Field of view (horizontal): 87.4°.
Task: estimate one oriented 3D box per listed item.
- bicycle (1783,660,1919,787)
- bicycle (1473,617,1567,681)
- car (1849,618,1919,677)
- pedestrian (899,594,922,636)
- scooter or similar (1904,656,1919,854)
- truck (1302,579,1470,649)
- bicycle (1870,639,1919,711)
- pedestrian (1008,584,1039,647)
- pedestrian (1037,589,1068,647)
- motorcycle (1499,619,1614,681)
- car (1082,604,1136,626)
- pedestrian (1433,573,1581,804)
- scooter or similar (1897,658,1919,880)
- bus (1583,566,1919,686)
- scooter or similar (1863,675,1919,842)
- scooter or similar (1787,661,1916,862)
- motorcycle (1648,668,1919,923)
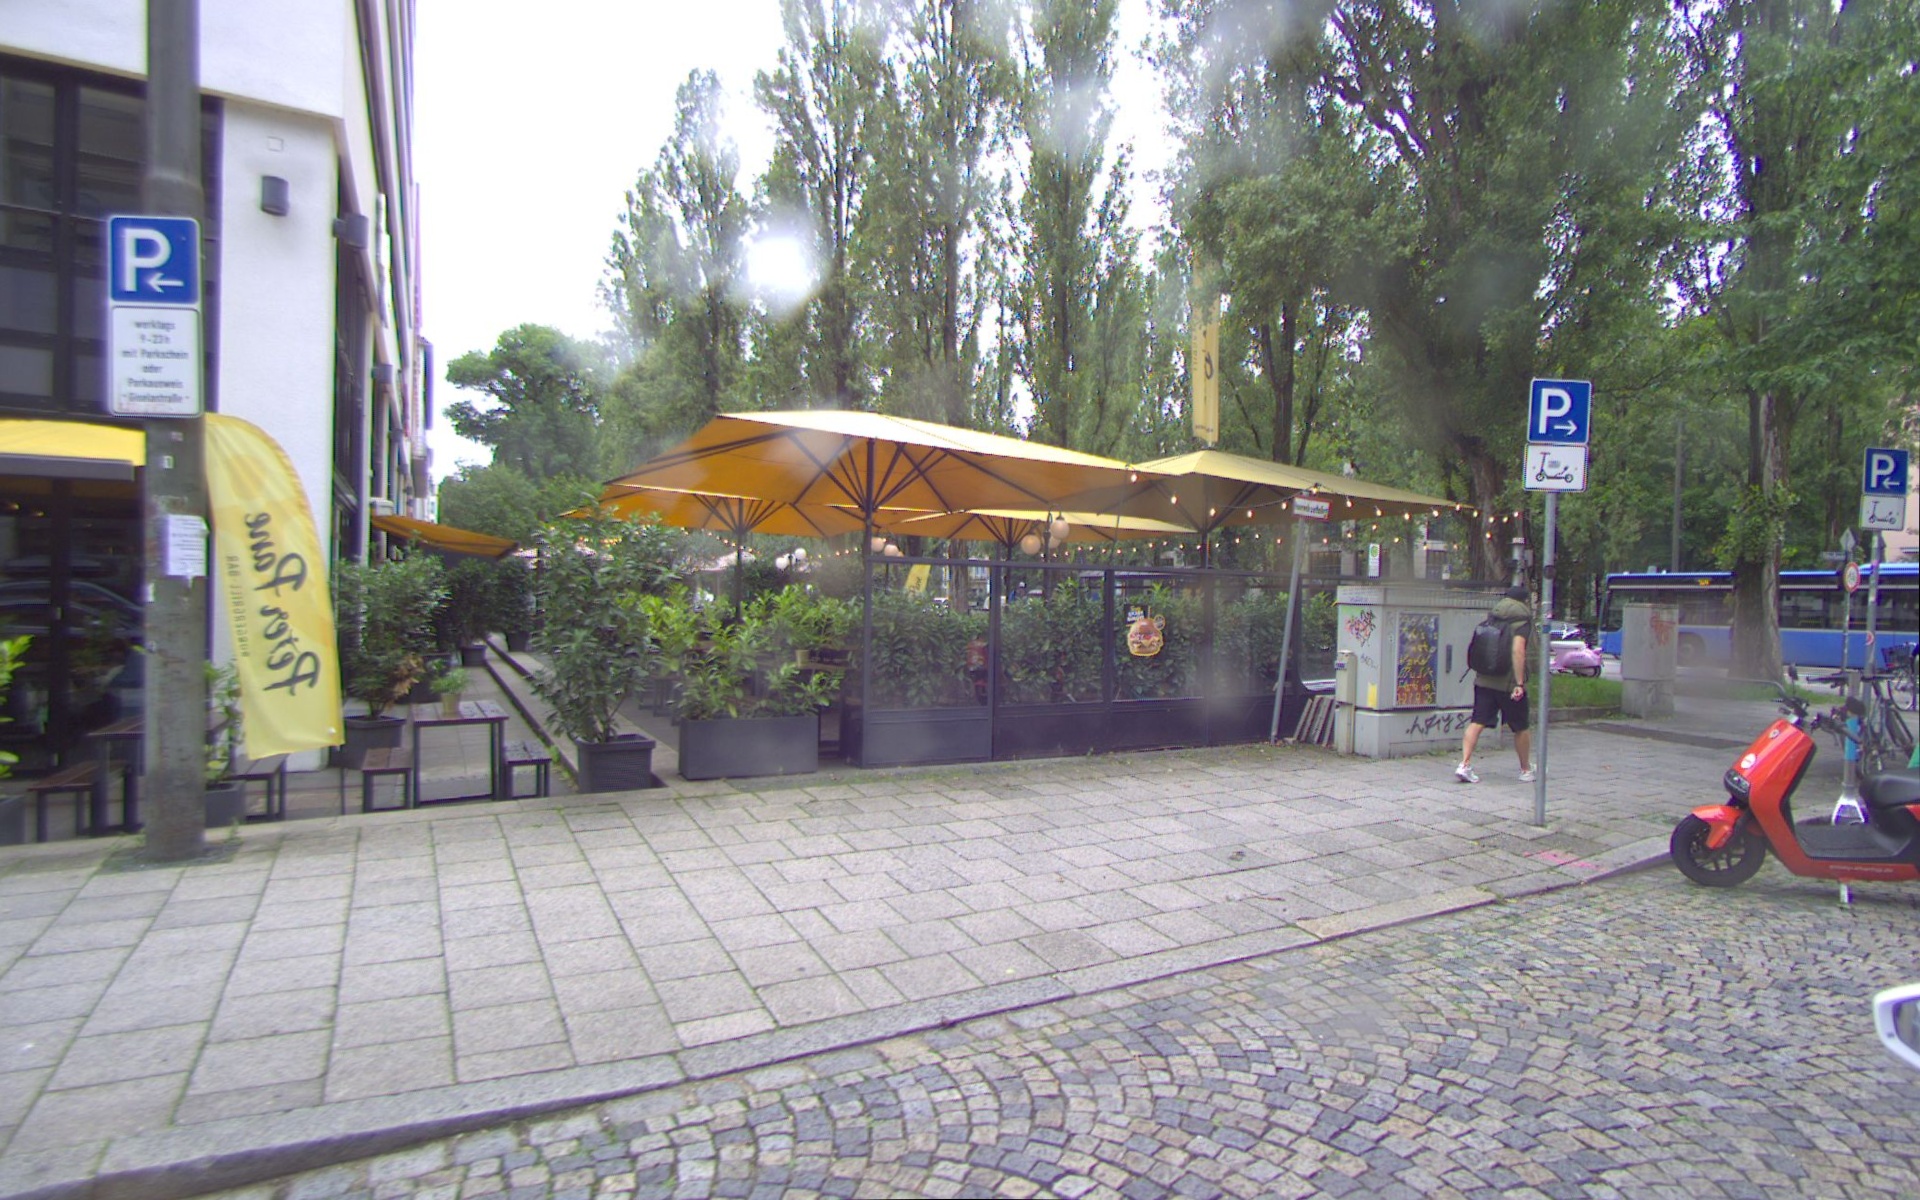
[{"bbox_3d":[8.295,1.091,9.239,1.742,1.036,0.549,1,0,-31],"label":"bicycle"},{"bbox_3d":[11.358,0.976,20.427,0.576,1.204,1.604,1,0,-28],"label":"bicycle"},{"bbox_3d":[30.048,1.504,30.605,1.772,1.754,4.046,3,-1,-29],"label":"car"},{"bbox_3d":[-2.040,0.627,41.301,0.726,1.715,0.643,1,0,-25],"label":"pedestrian"},{"bbox_3d":[6.935,1.038,6.432,1.229,1.290,0.327,1,0,31],"label":"scooter or similar"},{"bbox_3d":[19.227,0.578,45.871,2.568,2.946,7.030,1,0,-27],"label":"truck"},{"bbox_3d":[15.577,1.196,16.259,1.956,1.108,0.489,1,0,-24],"label":"bicycle"},{"bbox_3d":[1.964,0.470,31.103,0.635,1.933,0.700,1,0,38],"label":"pedestrian"},{"bbox_3d":[2.845,0.537,30.822,0.635,1.751,0.700,1,0,38],"label":"pedestrian"},{"bbox_3d":[12.371,1.012,20.880,1.951,1.212,0.629,1,0,18],"label":"motorcycle"},{"bbox_3d":[10.194,1.023,69.008,1.771,1.431,3.853,1,0,-28],"label":"car"},{"bbox_3d":[4.537,0.691,8.356,0.697,1.796,0.746,1,2,-29],"label":"pedestrian"},{"bbox_3d":[6.261,1.003,6.024,1.336,1.290,0.326,1,0,-19],"label":"scooter or similar"},{"bbox_3d":[24.265,0.680,29.776,2.891,3.092,9.723,1,0,-28],"label":"bus"},{"bbox_3d":[7.119,1.147,6.948,0.323,1.159,1.242,1,0,-28],"label":"scooter or similar"},{"bbox_3d":[6.138,1.057,6.961,0.383,1.195,1.249,1,0,29],"label":"scooter or similar"},{"bbox_3d":[5.014,1.036,5.449,1.951,1.212,0.771,1,0,18],"label":"motorcycle"}]
